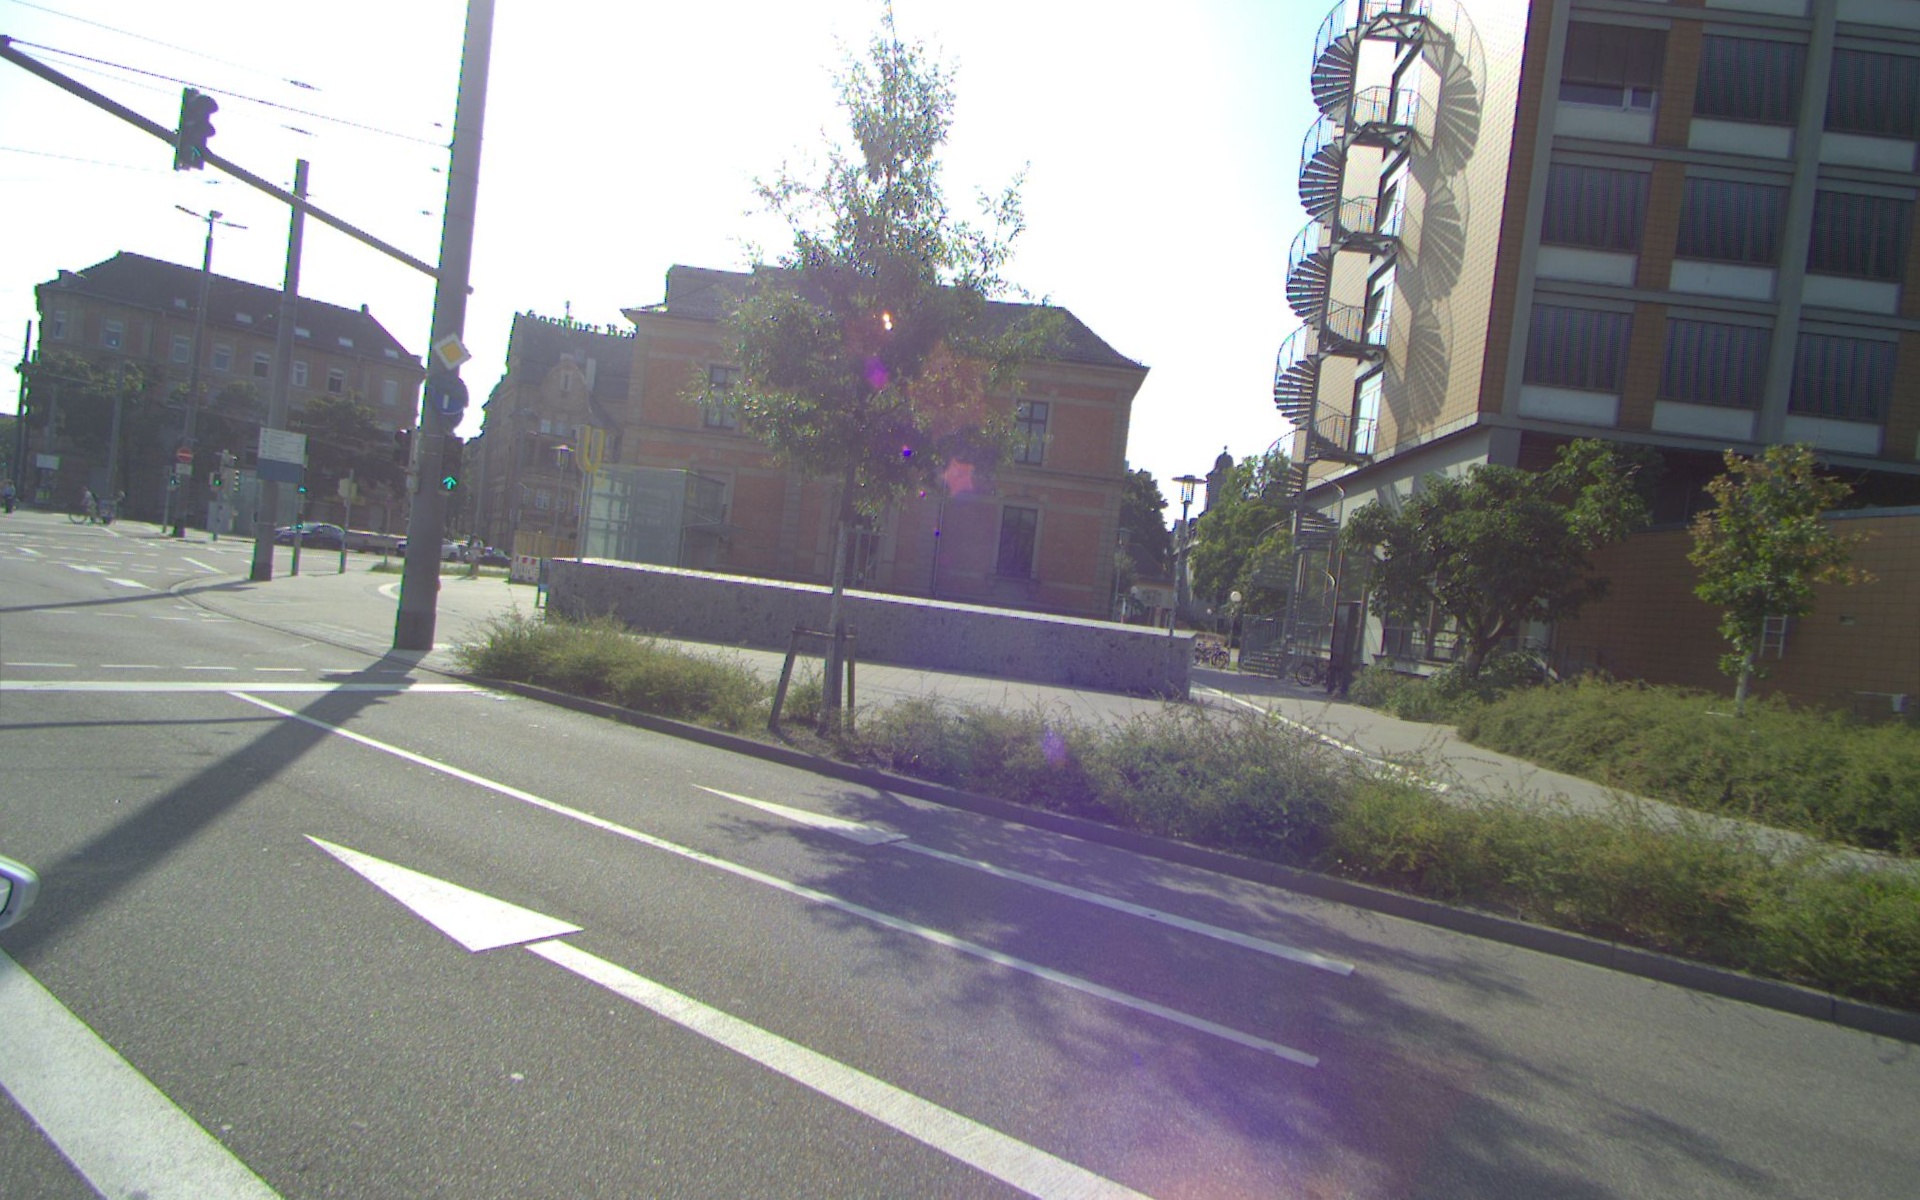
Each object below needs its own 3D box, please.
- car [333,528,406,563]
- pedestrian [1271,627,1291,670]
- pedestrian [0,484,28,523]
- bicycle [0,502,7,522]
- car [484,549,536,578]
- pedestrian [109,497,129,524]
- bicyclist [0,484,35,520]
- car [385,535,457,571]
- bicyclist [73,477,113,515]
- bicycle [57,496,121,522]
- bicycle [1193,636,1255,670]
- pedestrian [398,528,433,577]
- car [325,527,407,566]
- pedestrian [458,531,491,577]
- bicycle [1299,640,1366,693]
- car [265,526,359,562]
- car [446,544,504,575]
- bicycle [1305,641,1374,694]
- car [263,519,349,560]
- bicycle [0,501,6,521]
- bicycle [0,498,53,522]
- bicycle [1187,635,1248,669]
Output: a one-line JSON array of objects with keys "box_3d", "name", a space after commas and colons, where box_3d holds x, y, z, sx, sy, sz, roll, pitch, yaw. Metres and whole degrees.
[{"box_3d": [-41.520, -3.779, 70.865, 1.895, 1.881, 4.276, 7, 0, 13], "name": "car"}, {"box_3d": [14.481, 2.177, 45.391, 0.624, 1.890, 0.674, 7, 1, 13], "name": "pedestrian"}, {"box_3d": [-48.679, -4.959, 51.531, 0.845, 1.820, 0.926, 7, 1, -9], "name": "pedestrian"}, {"box_3d": [-48.594, -4.498, 49.470, 1.074, 0.976, 2.624, 7, 0, -5], "name": "bicycle"}, {"box_3d": [-35.882, -2.899, 80.340, 1.874, 1.881, 4.252, 7, 0, 4], "name": "car"}, {"box_3d": [-50.871, -5.398, 60.863, 0.538, 1.489, 0.666, 6, 1, -12], "name": "pedestrian"}, {"box_3d": [-50.326, -5.212, 53.580, 1.072, 1.701, 0.937, 7, 1, 8], "name": "bicyclist"}, {"box_3d": [-36.719, -3.175, 68.680, 2.007, 1.881, 4.666, 7, 0, 4], "name": "car"}, {"box_3d": [-44.577, -5.339, 51.717, 1.073, 1.730, 0.936, 7, 1, -5], "name": "bicyclist"}, {"box_3d": [-44.650, -4.665, 51.617, 1.074, 0.976, 2.624, 7, 0, -5], "name": "bicycle"}, {"box_3d": [10.359, 2.063, 39.471, 2.153, 1.067, 0.631, 7, 1, -1], "name": "bicycle"}, {"box_3d": [-20.666, -1.792, 38.192, 0.910, 1.711, 0.833, 7, 1, -21], "name": "pedestrian"}, {"box_3d": [-37.523, -3.336, 63.705, 1.874, 1.881, 4.712, 7, -1, 6], "name": "car"}, {"box_3d": [-19.380, -1.822, 40.148, 0.909, 1.711, 0.921, 7, 0, -18], "name": "pedestrian"}, {"box_3d": [12.091, 2.150, 32.683, 1.781, 1.451, 0.608, 7, 1, 5], "name": "bicycle"}, {"box_3d": [-35.484, -3.063, 55.261, 1.985, 1.414, 4.389, 7, -1, 4], "name": "car"}, {"box_3d": [-36.301, -2.986, 75.428, 1.874, 1.881, 4.252, 7, 0, 4], "name": "car"}, {"box_3d": [11.967, 2.124, 31.756, 1.803, 1.451, 0.608, 7, 1, 5], "name": "bicycle"}, {"box_3d": [-38.142, -3.488, 58.805, 1.874, 1.881, 4.252, 7, 0, 4], "name": "car"}, {"box_3d": [-50.272, -4.694, 50.993, 1.072, 0.976, 2.628, 7, 0, 8], "name": "bicycle"}, {"box_3d": [-50.349, -4.839, 53.782, 1.072, 0.976, 2.628, 7, 0, 8], "name": "bicycle"}, {"box_3d": [10.306, 2.092, 40.283, 2.201, 1.084, 0.579, 7, 1, -1], "name": "bicycle"}]
